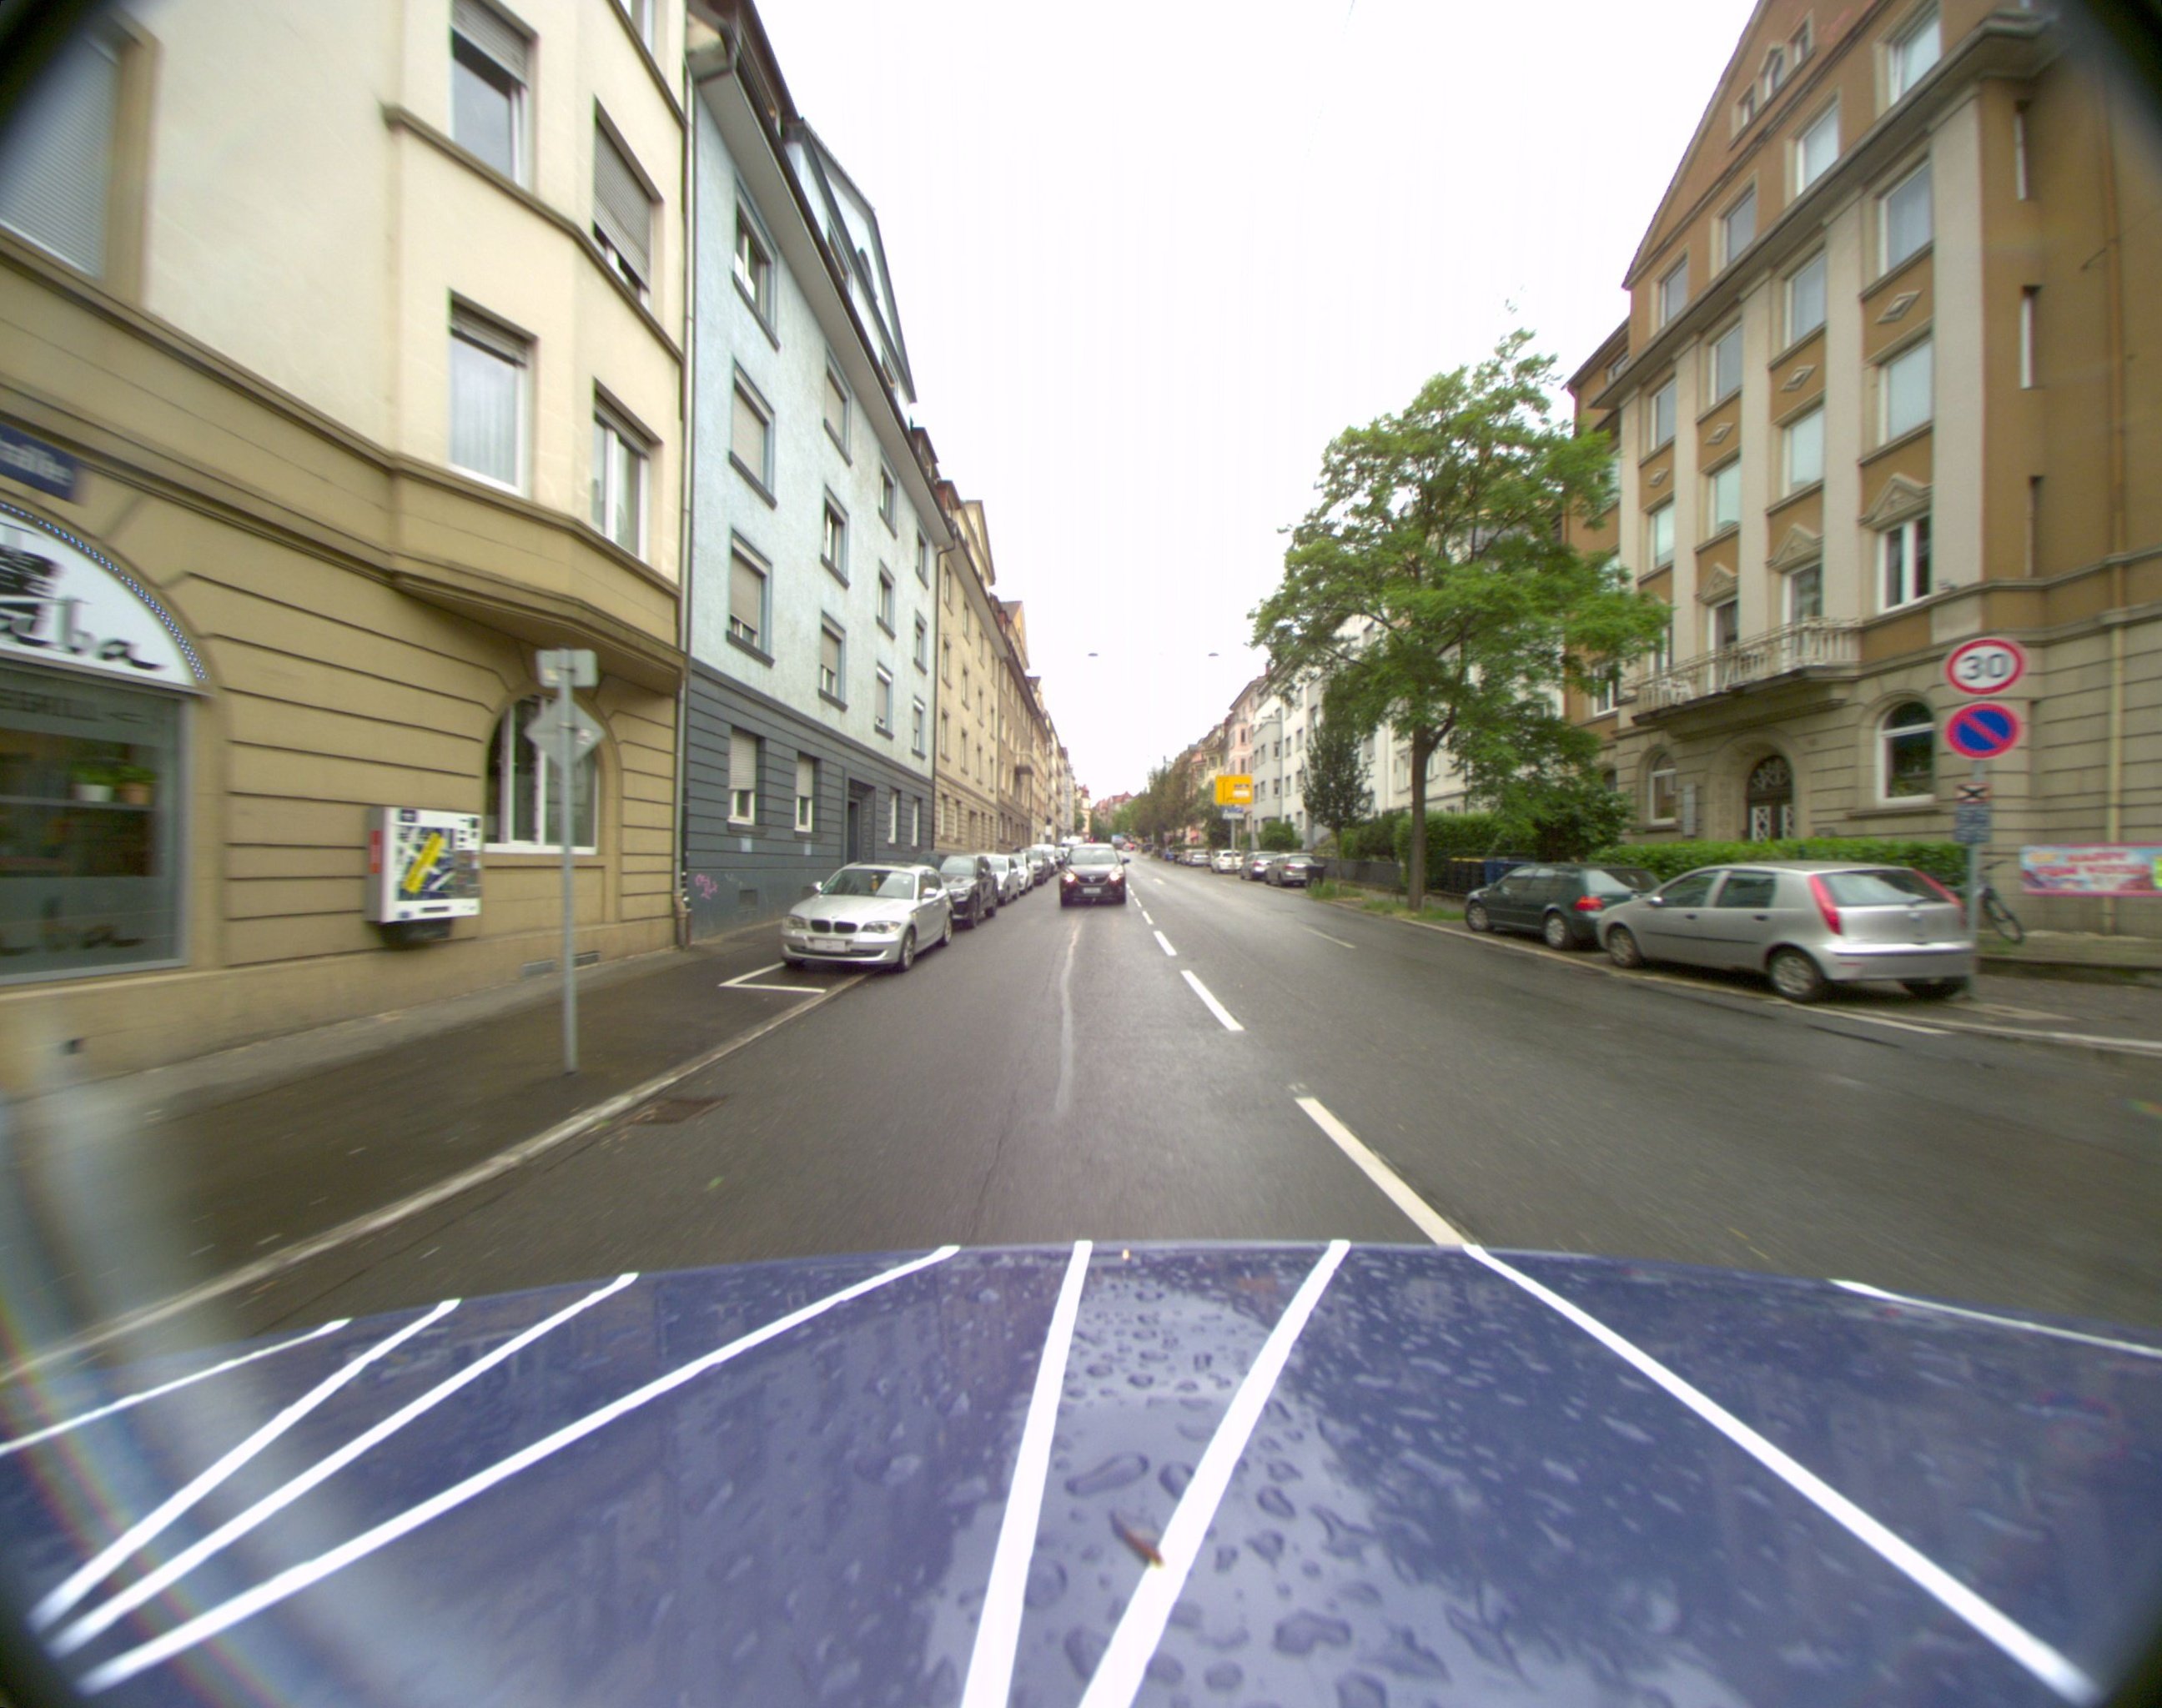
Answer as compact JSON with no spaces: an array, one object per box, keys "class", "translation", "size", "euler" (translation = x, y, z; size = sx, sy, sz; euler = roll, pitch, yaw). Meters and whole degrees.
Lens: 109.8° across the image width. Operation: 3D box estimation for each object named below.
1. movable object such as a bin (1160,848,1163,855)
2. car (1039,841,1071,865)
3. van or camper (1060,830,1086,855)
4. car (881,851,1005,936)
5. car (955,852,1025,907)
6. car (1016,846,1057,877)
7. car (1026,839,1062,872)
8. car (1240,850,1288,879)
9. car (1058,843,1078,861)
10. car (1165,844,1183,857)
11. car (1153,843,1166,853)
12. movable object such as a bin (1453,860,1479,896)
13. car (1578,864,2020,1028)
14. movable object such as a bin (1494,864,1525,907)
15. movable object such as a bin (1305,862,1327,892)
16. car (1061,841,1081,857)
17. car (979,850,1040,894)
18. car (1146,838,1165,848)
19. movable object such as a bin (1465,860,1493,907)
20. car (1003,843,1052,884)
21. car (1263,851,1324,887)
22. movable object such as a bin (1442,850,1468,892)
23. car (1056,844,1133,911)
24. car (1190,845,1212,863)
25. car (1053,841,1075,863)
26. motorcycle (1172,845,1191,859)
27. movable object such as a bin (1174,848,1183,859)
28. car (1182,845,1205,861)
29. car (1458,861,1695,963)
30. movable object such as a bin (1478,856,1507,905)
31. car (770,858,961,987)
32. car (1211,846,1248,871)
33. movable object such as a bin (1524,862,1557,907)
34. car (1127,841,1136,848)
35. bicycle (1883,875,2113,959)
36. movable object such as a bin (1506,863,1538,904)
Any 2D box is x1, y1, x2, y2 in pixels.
[{"class":"movable object such as a bin","translation":[10.954,-0.305,103.807],"size":[0.365,0.885,0.572],"euler":[-2,1,1]},{"class":"car","translation":[-1.725,-0.099,51.446],"size":[1.795,1.539,4.225],"euler":[2,1,2]},{"class":"van or camper","translation":[-0.833,-1.308,85.622],"size":[2.189,2.684,6.421],"euler":[1,1,6]},{"class":"car","translation":[-2.955,0.767,17.167],"size":[1.822,1.549,4.293],"euler":[2,1,2]},{"class":"car","translation":[-2.719,0.727,23.378],"size":[1.587,1.421,3.594],"euler":[3,1,1]},{"class":"car","translation":[-2.296,0.358,40.357],"size":[1.845,1.401,4.387],"euler":[2,1,1]},{"class":"car","translation":[-2.160,0.060,45.402],"size":[1.795,1.807,4.079],"euler":[2,1,1]},{"class":"car","translation":[9.271,0.499,38.757],"size":[1.686,1.382,3.909],"euler":[-1,1,2]},{"class":"car","translation":[-1.125,-0.230,68.569],"size":[1.636,1.470,3.734],"euler":[3,1,0]},{"class":"car","translation":[11.050,-0.466,90.490],"size":[1.683,1.378,4.601],"euler":[0,2,2]},{"class":"car","translation":[12.369,-0.980,119.549],"size":[1.685,1.410,4.137],"euler":[1,1,2]},{"class":"movable object such as a bin","translation":[11.411,0.705,22.517],"size":[0.440,1.034,0.650],"euler":[0,1,1]},{"class":"car","translation":[8.158,0.908,9.217],"size":[1.636,1.445,3.838],"euler":[0,1,-2]},{"class":"movable object such as a bin","translation":[11.400,0.834,20.234],"size":[0.440,1.124,0.657],"euler":[0,1,1]},{"class":"movable object such as a bin","translation":[8.672,0.848,28.018],"size":[0.631,1.052,0.600],"euler":[1,2,2]},{"class":"car","translation":[-0.967,-0.520,77.157],"size":[1.782,1.471,4.586],"euler":[1,2,2]},{"class":"car","translation":[-2.606,0.612,28.390],"size":[1.733,1.421,3.973],"euler":[3,1,1]},{"class":"car","translation":[16.511,-2.453,169.083],"size":[3.929,1.837,1.867],"euler":[-3,2,0]},{"class":"movable object such as a bin","translation":[11.372,0.824,21.695],"size":[0.440,1.301,0.650],"euler":[0,1,1]},{"class":"car","translation":[-2.375,0.375,34.466],"size":[1.845,1.612,4.207],"euler":[1,2,1]},{"class":"car","translation":[9.138,0.615,32.917],"size":[1.686,1.382,3.935],"euler":[-1,1,2]},{"class":"movable object such as a bin","translation":[11.516,0.517,23.407],"size":[0.440,1.292,0.650],"euler":[0,1,1]},{"class":"car","translation":[0.351,0.560,21.277],"size":[1.889,1.543,3.998],"euler":[-3,2,0]},{"class":"car","translation":[10.236,0.001,64.935],"size":[1.604,1.443,3.888],"euler":[-1,1,5]},{"class":"car","translation":[-1.367,-0.204,62.931],"size":[1.636,1.629,4.194],"euler":[3,1,0]},{"class":"motorcycle","translation":[9.898,-0.182,74.755],"size":[1.805,1.307,0.743],"euler":[2,2,43]},{"class":"movable object such as a bin","translation":[9.888,-0.031,77.364],"size":[0.826,1.052,0.483],"euler":[-3,2,3]},{"class":"car","translation":[10.309,-0.092,69.963],"size":[1.604,1.389,3.886],"euler":[0,2,1]},{"class":"car","translation":[8.554,0.911,13.600],"size":[1.658,1.445,3.941],"euler":[0,1,0]},{"class":"movable object such as a bin","translation":[11.368,0.725,20.998],"size":[0.440,1.301,0.609],"euler":[0,1,1]},{"class":"car","translation":[-3.031,0.876,11.567],"size":[1.573,1.455,4.088],"euler":[2,1,2]},{"class":"car","translation":[9.529,0.260,49.064],"size":[1.650,1.499,3.796],"euler":[0,1,0]},{"class":"movable object such as a bin","translation":[11.350,0.749,18.790],"size":[0.440,1.075,0.589],"euler":[0,1,1]},{"class":"car","translation":[11.933,-2.297,179.484],"size":[1.771,1.540,3.652],"euler":[-1,2,2]},{"class":"bicycle","translation":[12.239,0.811,10.175],"size":[2.349,1.040,0.806],"euler":[0,1,-7]},{"class":"movable object such as a bin","translation":[11.333,0.746,19.526],"size":[0.427,1.035,0.650],"euler":[0,1,1]}]
